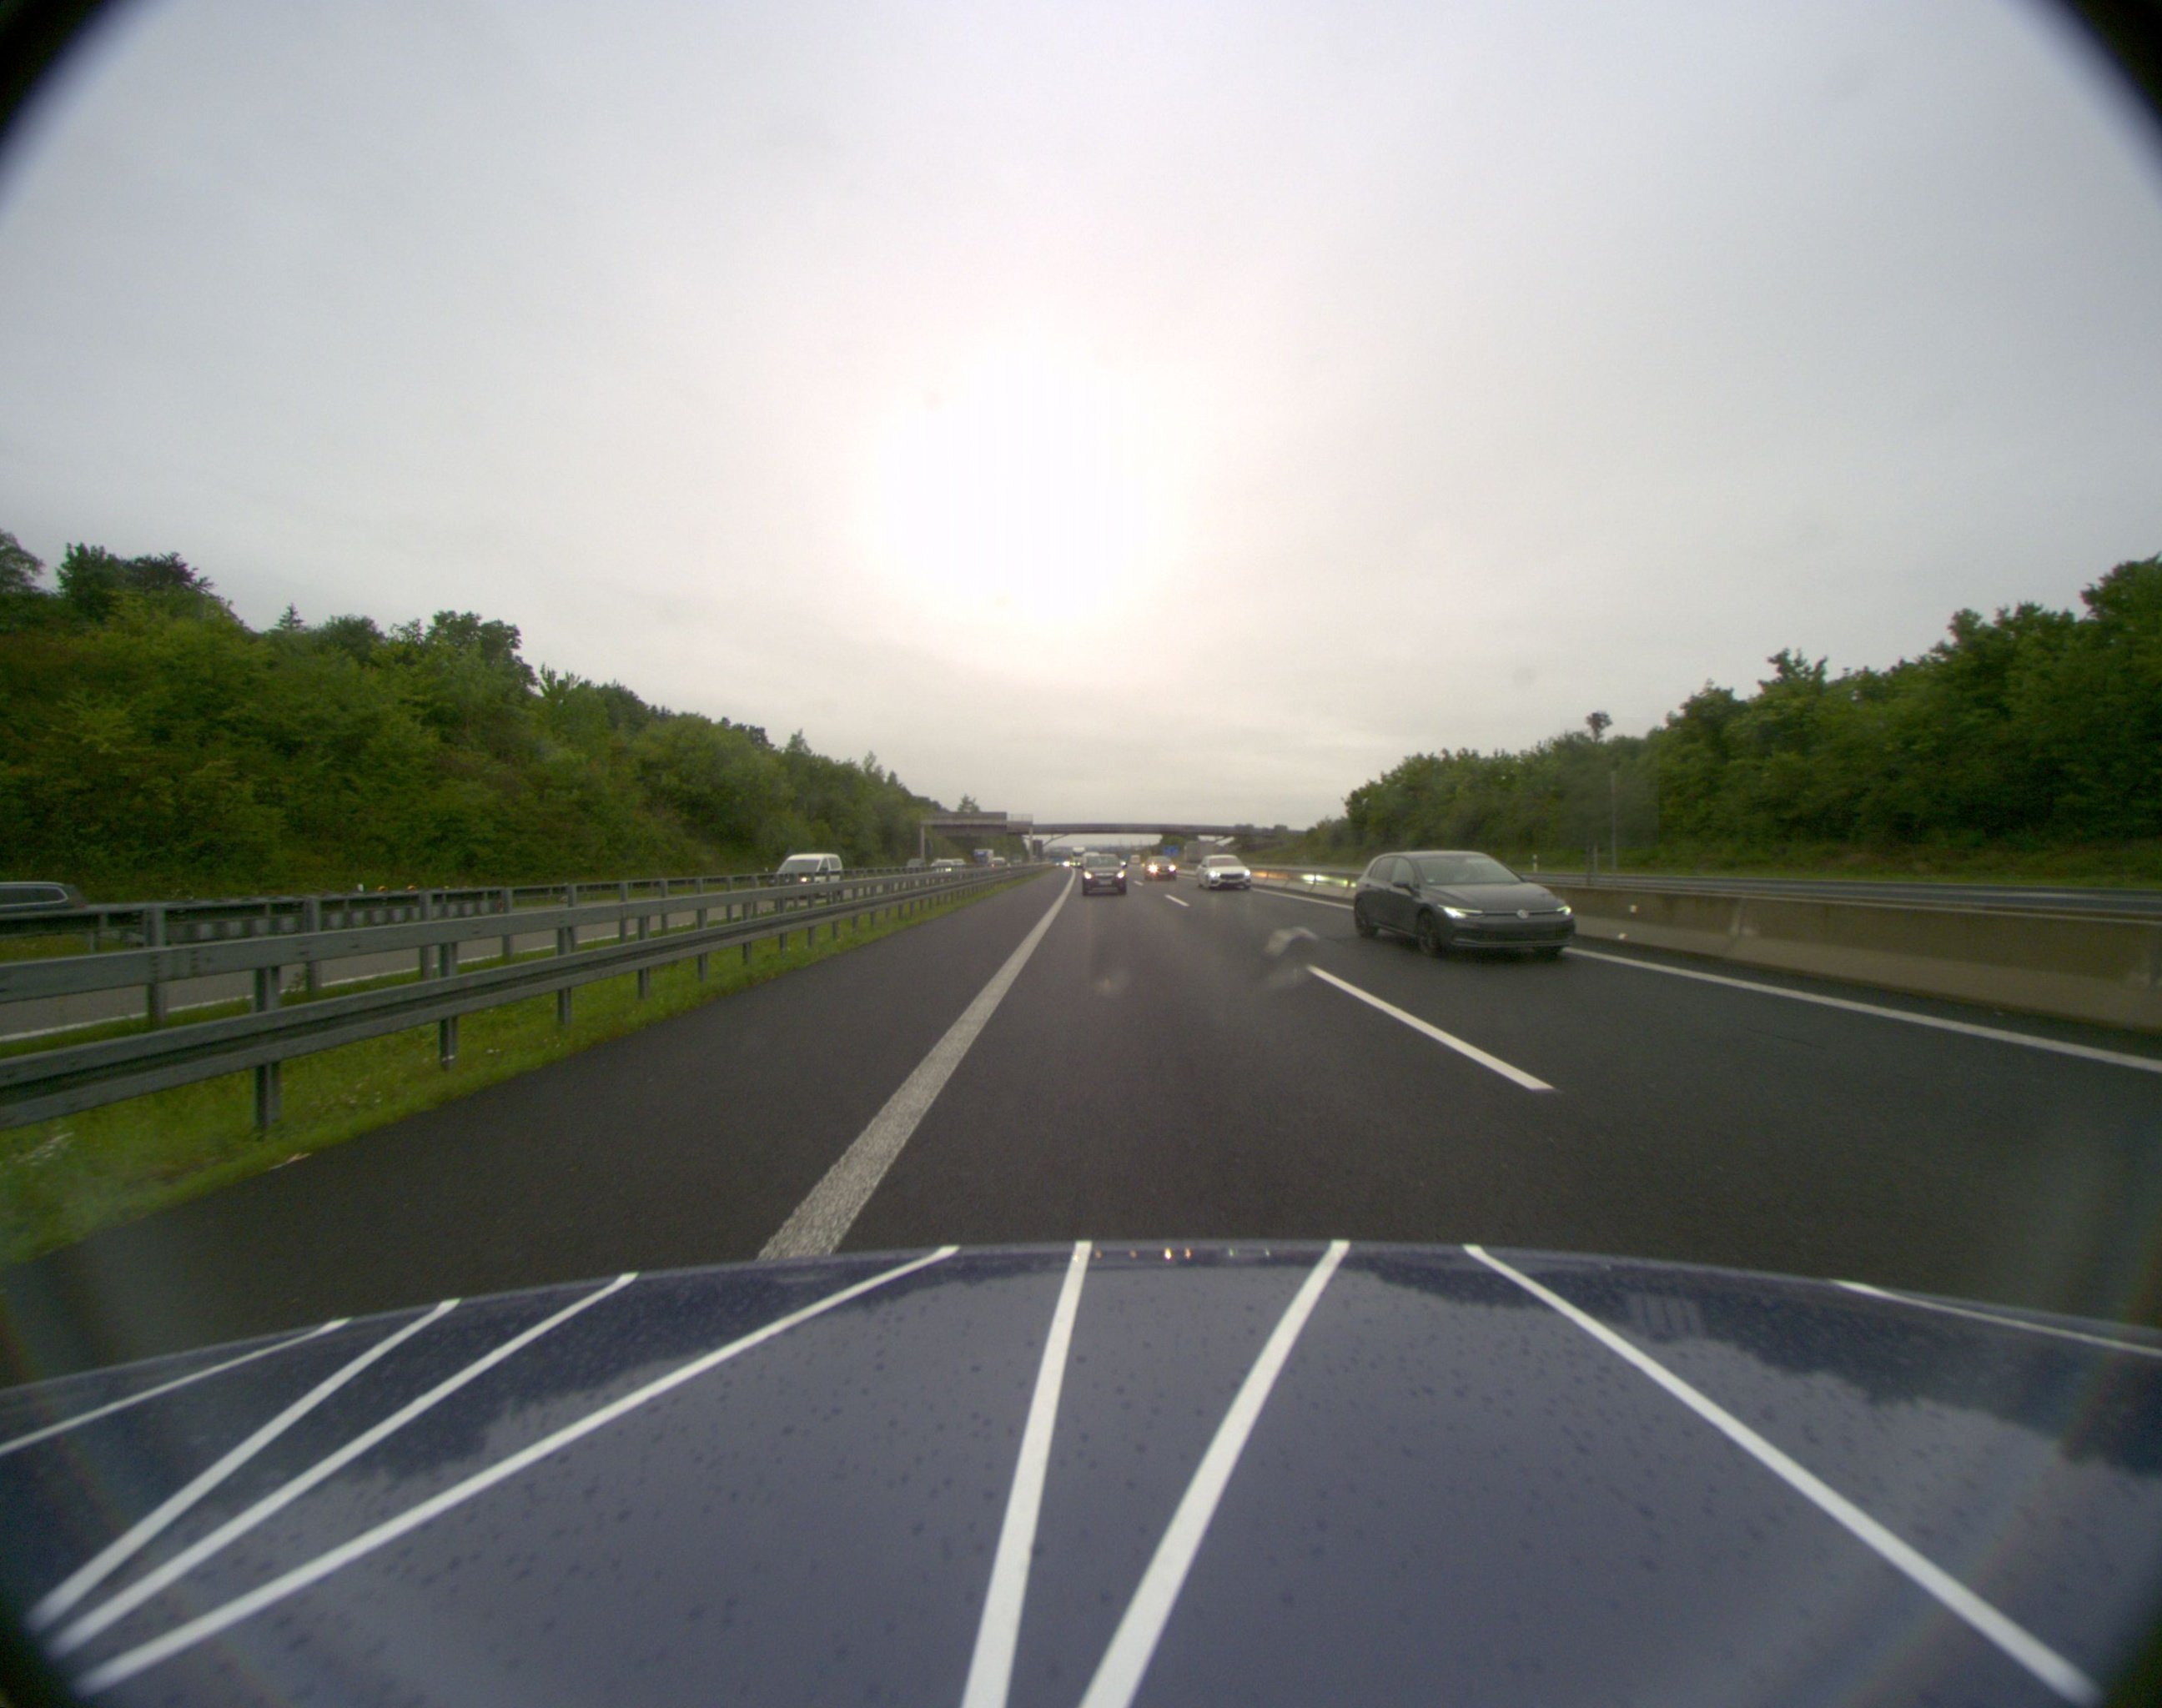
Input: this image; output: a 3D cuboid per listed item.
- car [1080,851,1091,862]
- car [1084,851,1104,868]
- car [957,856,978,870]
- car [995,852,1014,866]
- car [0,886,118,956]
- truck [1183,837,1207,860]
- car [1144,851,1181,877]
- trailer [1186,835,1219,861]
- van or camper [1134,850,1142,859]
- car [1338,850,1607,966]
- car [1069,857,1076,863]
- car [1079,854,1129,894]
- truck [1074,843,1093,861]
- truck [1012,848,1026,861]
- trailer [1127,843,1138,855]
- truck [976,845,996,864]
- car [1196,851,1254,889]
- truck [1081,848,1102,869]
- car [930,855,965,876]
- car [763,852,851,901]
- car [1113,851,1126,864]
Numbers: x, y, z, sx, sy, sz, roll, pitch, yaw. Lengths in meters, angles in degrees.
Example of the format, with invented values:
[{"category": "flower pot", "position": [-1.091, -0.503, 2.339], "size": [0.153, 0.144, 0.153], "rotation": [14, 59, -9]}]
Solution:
[{"category": "car", "position": [0.704, 0.441, 124.360], "size": [1.715, 1.724, 4.000], "rotation": [-1, 0, 1]}, {"category": "car", "position": [1.311, 0.527, 77.776], "size": [1.825, 1.669, 4.001], "rotation": [-2, 0, 3]}, {"category": "car", "position": [-13.426, 1.062, 90.052], "size": [1.901, 1.603, 4.145], "rotation": [-1, 0, 0]}, {"category": "car", "position": [-10.468, 0.641, 104.270], "size": [2.013, 1.804, 4.276], "rotation": [-1, 0, 1]}, {"category": "car", "position": [-26.894, 1.683, 18.241], "size": [1.862, 1.573, 4.245], "rotation": [-1, 1, 17]}, {"category": "truck", "position": [20.533, -0.946, 137.058], "size": [3.268, 4.060, 7.440], "rotation": [-1, 0, 0]}, {"category": "car", "position": [5.130, 0.604, 48.192], "size": [1.905, 1.497, 4.114], "rotation": [-1, 0, 1]}, {"category": "trailer", "position": [20.501, -0.936, 129.286], "size": [3.268, 4.059, 13.844], "rotation": [-1, 0, 0]}, {"category": "van or camper", "position": [15.193, 0.191, 202.038], "size": [1.800, 2.455, 5.547], "rotation": [-1, 0, 0]}, {"category": "car", "position": [5.594, 0.659, 11.629], "size": [1.905, 1.397, 4.459], "rotation": [-1, 0, 1]}, {"category": "car", "position": [-2.673, 1.795, 239.088], "size": [1.916, 1.671, 4.000], "rotation": [-1, 0, 3]}, {"category": "car", "position": [1.024, 0.800, 31.646], "size": [1.905, 1.497, 4.115], "rotation": [-1, 0, 3]}, {"category": "truck", "position": [0.420, -0.434, 153.734], "size": [3.154, 3.332, 13.096], "rotation": [-2, 0, -2]}, {"category": "truck", "position": [-17.213, 0.181, 212.446], "size": [2.909, 3.397, 13.350], "rotation": [-1, 0, -1]}, {"category": "trailer", "position": [17.633, -1.625, 260.584], "size": [2.797, 4.059, 13.524], "rotation": [-1, 0, -1]}, {"category": "truck", "position": [-17.644, 0.001, 141.798], "size": [2.909, 3.397, 9.279], "rotation": [-1, 0, -3]}, {"category": "car", "position": [6.147, 0.634, 32.826], "size": [1.905, 1.497, 4.115], "rotation": [-1, 0, 3]}, {"category": "truck", "position": [1.140, 0.492, 85.147], "size": [2.175, 2.214, 5.642], "rotation": [-1, 0, 0]}, {"category": "car", "position": [-10.927, 0.902, 62.576], "size": [2.013, 1.539, 4.695], "rotation": [-1, 0, 0]}, {"category": "car", "position": [-11.049, 0.835, 31.053], "size": [1.864, 1.794, 4.647], "rotation": [-1, 0, 0]}, {"category": "car", "position": [5.620, 0.462, 110.145], "size": [1.715, 1.724, 4.000], "rotation": [-1, 0, 1]}]
